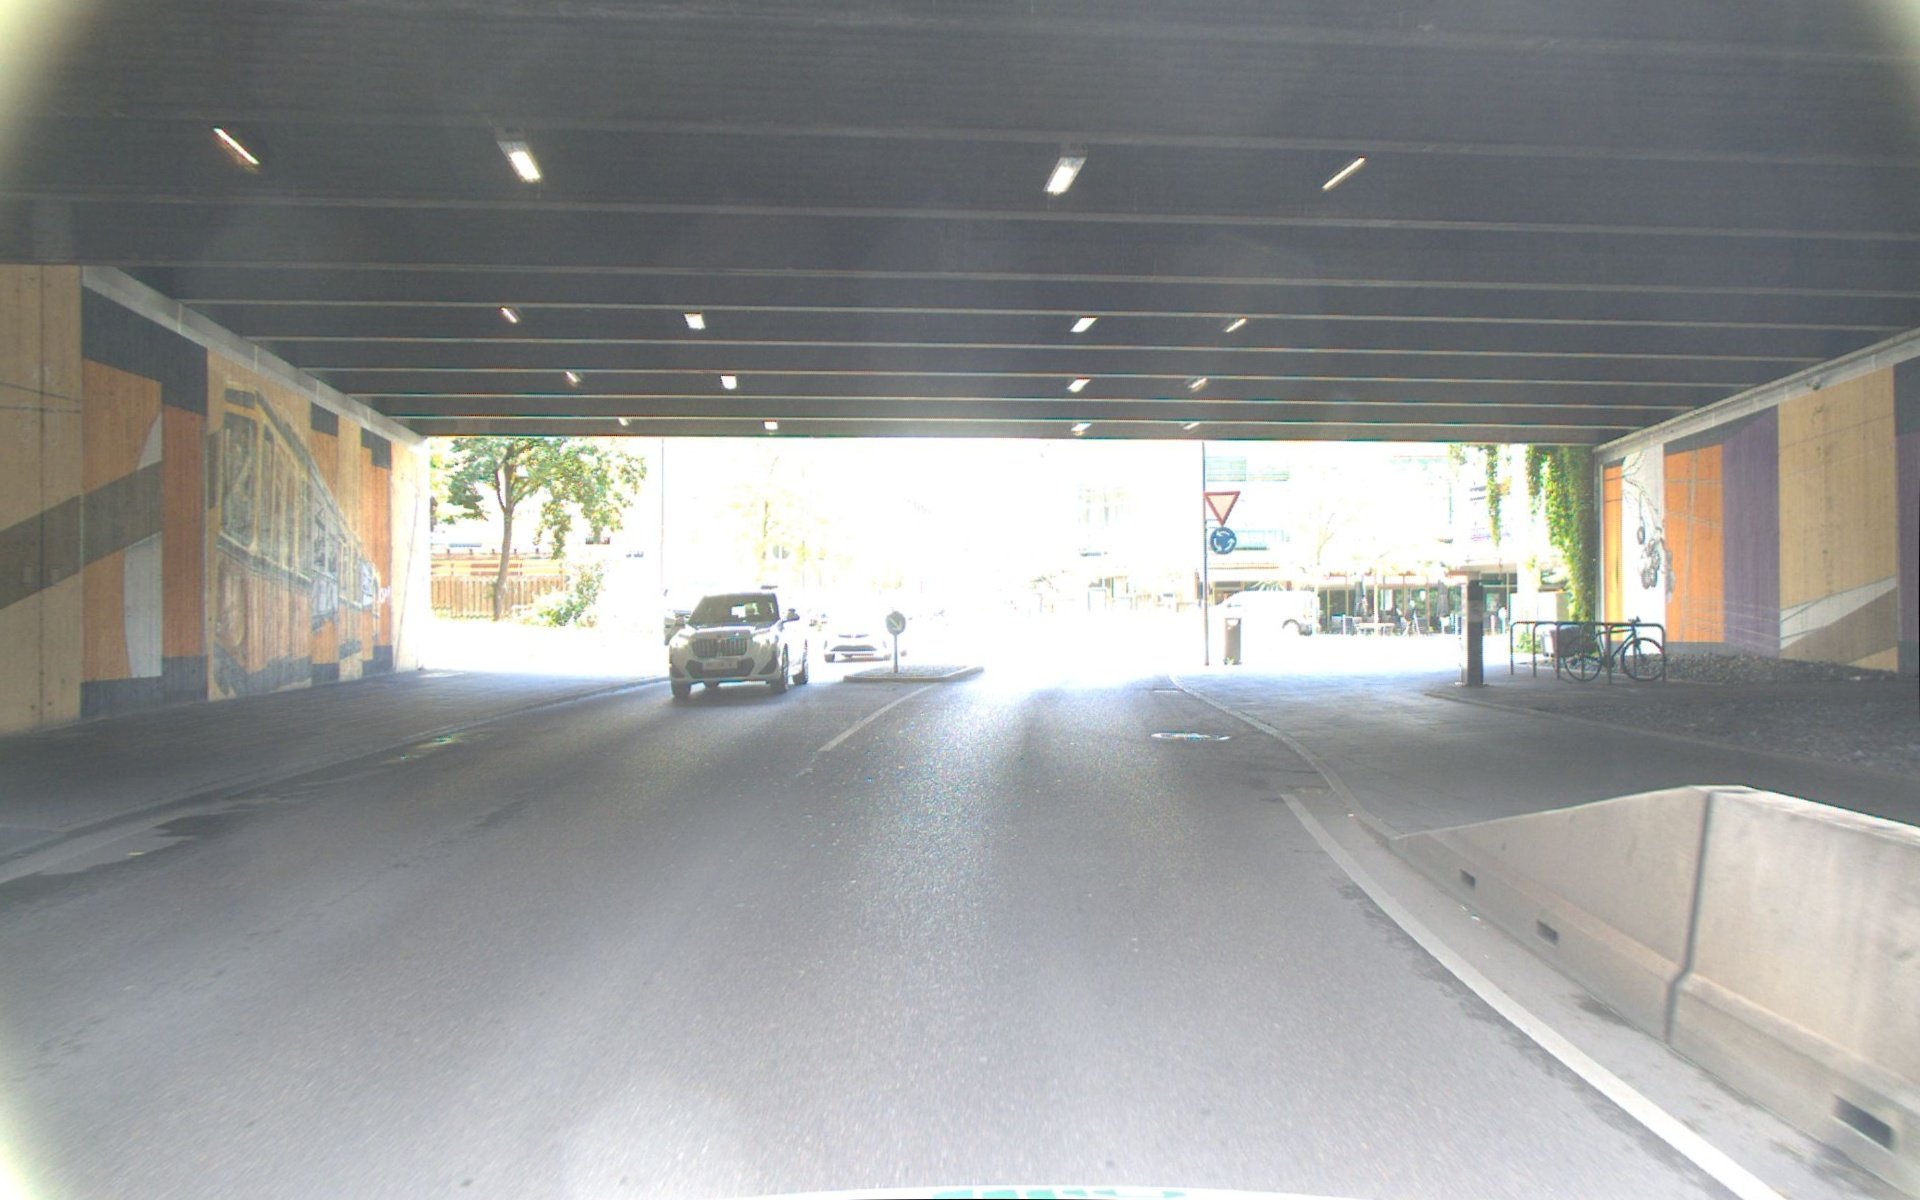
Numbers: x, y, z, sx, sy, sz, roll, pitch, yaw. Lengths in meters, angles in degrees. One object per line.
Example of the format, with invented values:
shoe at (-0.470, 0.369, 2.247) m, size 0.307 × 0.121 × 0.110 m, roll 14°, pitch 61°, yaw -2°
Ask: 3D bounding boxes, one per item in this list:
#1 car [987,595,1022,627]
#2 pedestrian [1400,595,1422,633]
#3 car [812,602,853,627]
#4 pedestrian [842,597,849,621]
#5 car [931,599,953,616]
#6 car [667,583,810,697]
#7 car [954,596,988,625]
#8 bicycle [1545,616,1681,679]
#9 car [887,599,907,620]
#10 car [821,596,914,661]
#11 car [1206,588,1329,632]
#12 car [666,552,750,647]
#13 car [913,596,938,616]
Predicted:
car at (2.651, 0.654, 97.760) m, size 1.786 × 1.761 × 4.235 m, roll -1°, pitch 0°, yaw 4°
pedestrian at (20.232, 0.638, 74.199) m, size 0.686 × 1.704 × 0.613 m, roll 0°, pitch 0°, yaw -23°
car at (-6.755, 0.750, 87.935) m, size 1.674 × 1.267 × 4.412 m, roll 0°, pitch 0°, yaw 2°
pedestrian at (-8.284, 0.640, 119.713) m, size 0.540 × 1.715 × 0.516 m, roll 0°, pitch 0°, yaw -3°
car at (-1.553, 0.644, 140.106) m, size 1.675 × 1.378 × 3.998 m, roll 0°, pitch 0°, yaw -3°
car at (-3.539, 0.602, 27.097) m, size 1.788 × 1.682 × 4.213 m, roll -2°, pitch 0°, yaw -1°
car at (0.575, 0.583, 90.284) m, size 1.787 × 1.546 × 4.232 m, roll -1°, pitch 0°, yaw 0°
bicycle at (10.151, 0.738, 25.732) m, size 1.906 × 0.920 × 0.506 m, roll -1°, pitch -1°, yaw -4°
car at (-5.291, 0.794, 138.248) m, size 1.675 × 1.742 × 3.998 m, roll 0°, pitch 0°, yaw -3°
car at (-2.220, 0.654, 40.548) m, size 1.636 × 1.473 × 3.855 m, roll -2°, pitch 0°, yaw 6°
car at (12.699, 0.415, 68.344) m, size 4.588 × 1.717 × 1.997 m, roll -1°, pitch 0°, yaw 28°
car at (-7.571, -0.014, 50.221) m, size 1.928 × 2.652 × 5.926 m, roll 1°, pitch 0°, yaw -4°
car at (-2.515, 0.410, 119.087) m, size 1.675 × 1.378 × 3.998 m, roll 0°, pitch 0°, yaw -3°
